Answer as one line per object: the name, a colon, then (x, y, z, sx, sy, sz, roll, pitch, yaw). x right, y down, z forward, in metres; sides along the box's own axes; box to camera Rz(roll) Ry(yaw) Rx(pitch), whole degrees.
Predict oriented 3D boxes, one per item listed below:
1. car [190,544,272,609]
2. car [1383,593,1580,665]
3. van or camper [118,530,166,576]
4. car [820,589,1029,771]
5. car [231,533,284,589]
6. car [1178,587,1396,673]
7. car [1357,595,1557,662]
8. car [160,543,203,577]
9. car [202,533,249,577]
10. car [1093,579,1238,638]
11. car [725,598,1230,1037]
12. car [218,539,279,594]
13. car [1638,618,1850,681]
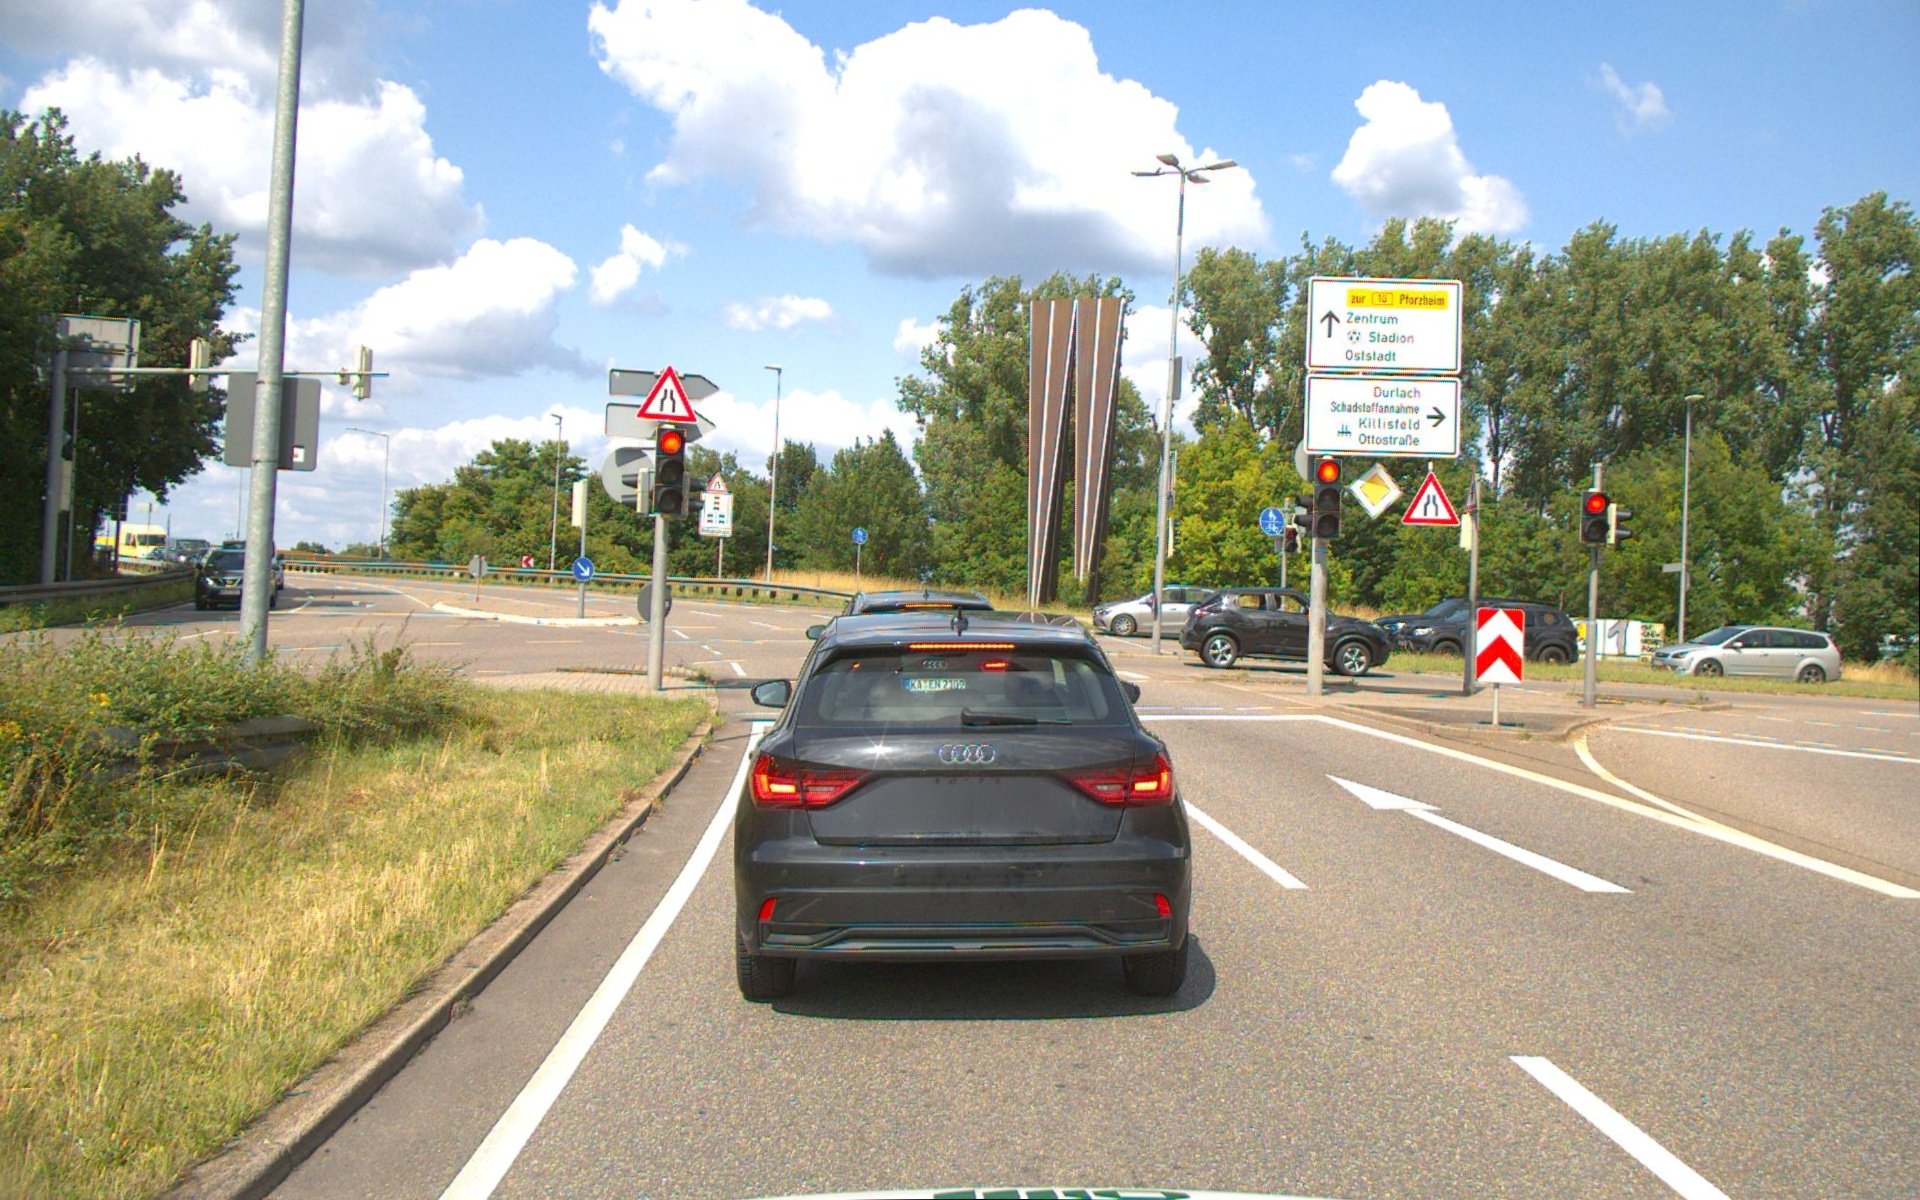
car: (-19.894, -0.610, 45.261, 1.813, 1.646, 3.974, 2, -1, -21)
car: (12.596, 0.689, 40.074, 4.182, 1.572, 1.736, 2, 0, -2)
van or camper: (-50.387, -2.876, 101.843, 1.974, 2.730, 6.788, 2, 0, -32)
car: (-0.444, 0.633, 15.332, 1.692, 1.448, 3.841, 0, 1, -5)
car: (-28.230, -1.551, 66.404, 1.819, 2.137, 4.293, 2, 0, -24)
car: (6.214, 0.560, 31.830, 3.874, 1.443, 1.954, 2, 0, 5)
car: (13.161, 0.745, 43.935, 4.750, 1.572, 1.736, 2, 0, -2)
car: (-42.151, -2.164, 89.501, 1.823, 1.735, 4.286, 2, 0, -29)
car: (-35.569, -2.186, 80.042, 1.821, 2.013, 4.289, 2, 0, -27)
car: (5.888, 0.225, 47.833, 4.020, 1.522, 2.001, 2, 0, 3)
car: (0.030, 0.723, 7.539, 1.691, 1.429, 3.999, 0, 1, -1)
car: (-25.384, -1.197, 59.103, 1.817, 1.833, 4.299, 2, 0, -22)
car: (19.083, 1.198, 40.355, 4.384, 1.343, 1.735, 2, 0, -4)
